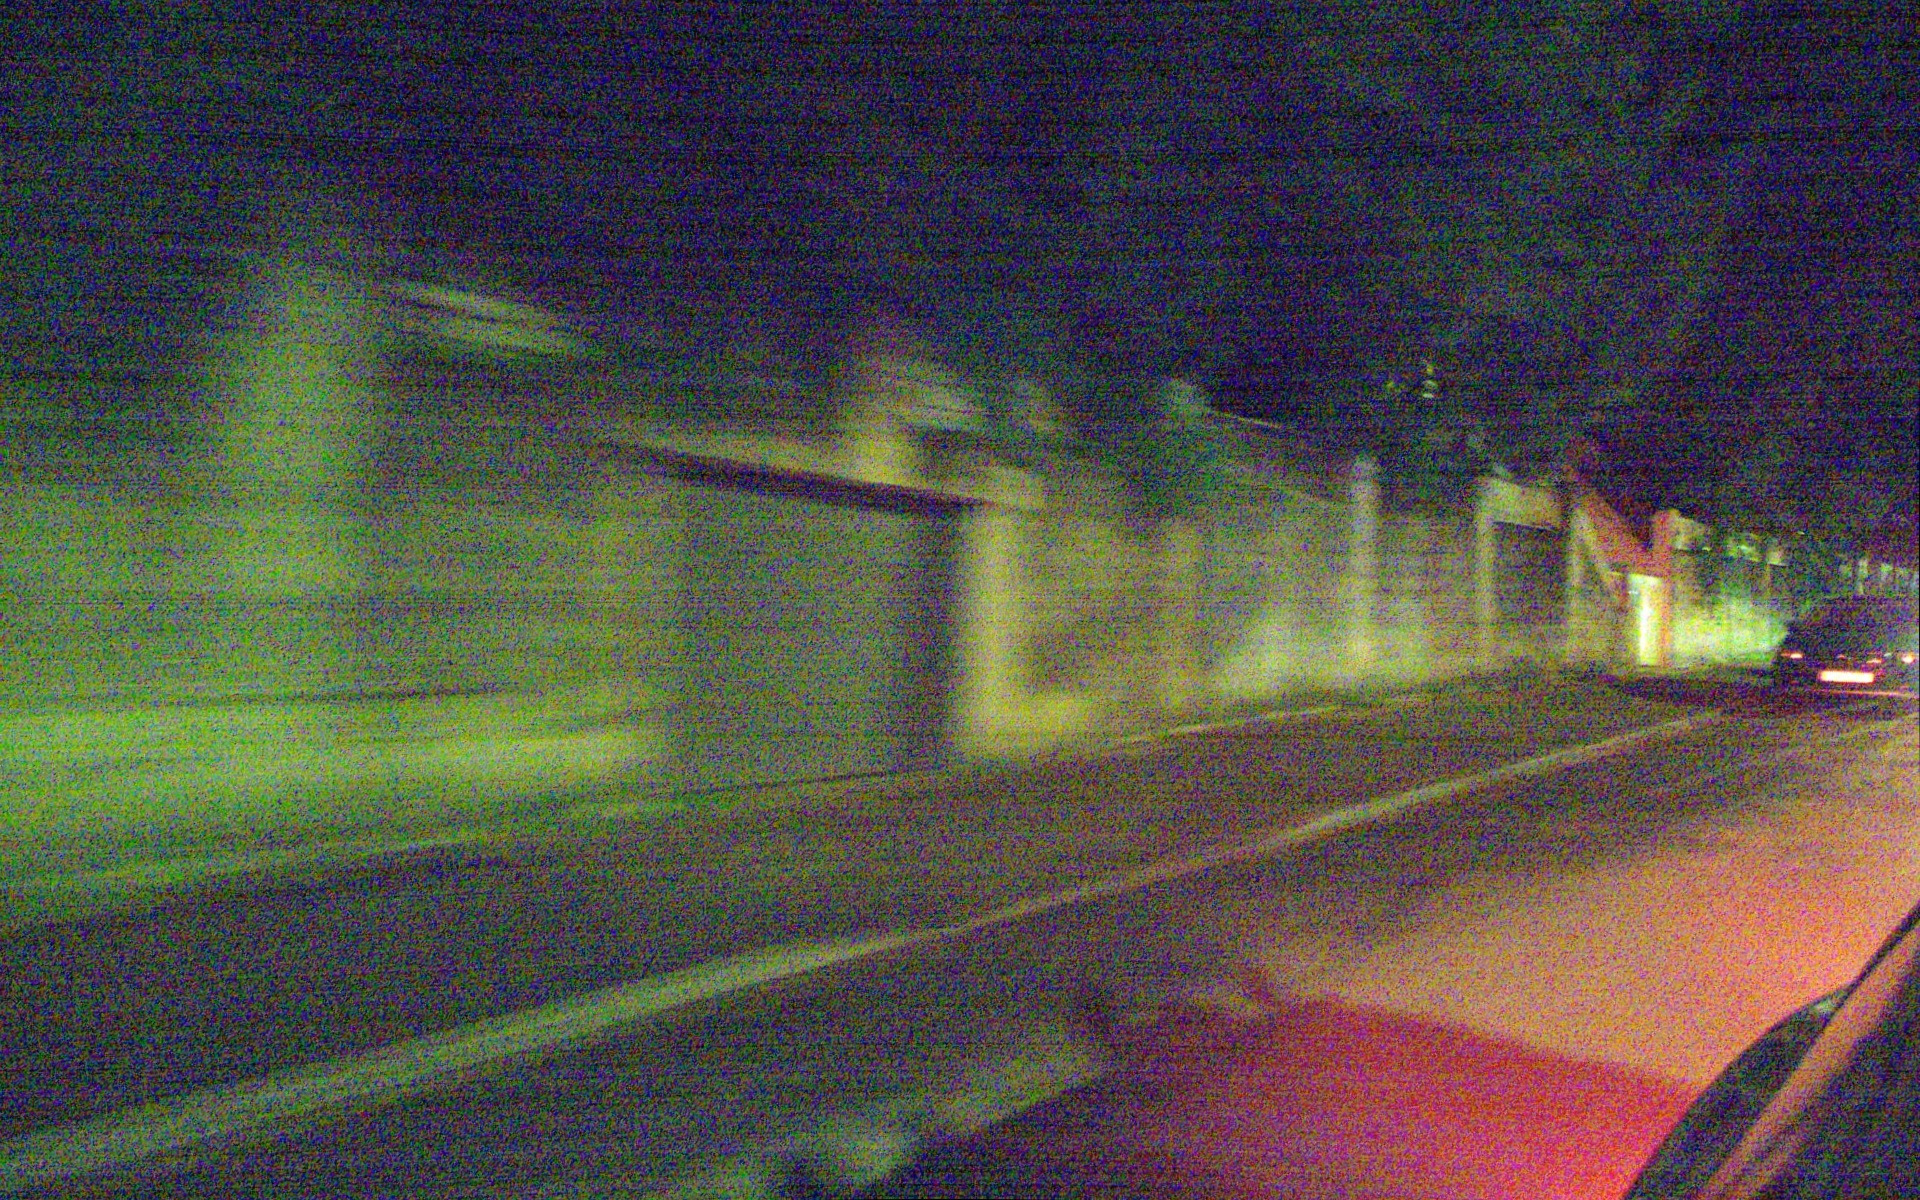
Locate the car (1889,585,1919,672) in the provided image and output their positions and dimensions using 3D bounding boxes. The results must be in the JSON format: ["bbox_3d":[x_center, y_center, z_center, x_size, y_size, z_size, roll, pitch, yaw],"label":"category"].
[{"bbox_3d":[21.565,0.616,21.774,4.672,1.784,1.722,1,-1,-40],"label":"car"}]

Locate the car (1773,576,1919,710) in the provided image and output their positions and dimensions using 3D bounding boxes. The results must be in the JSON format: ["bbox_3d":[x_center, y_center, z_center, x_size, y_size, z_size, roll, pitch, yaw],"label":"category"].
[{"bbox_3d":[13.422,0.528,14.487,4.535,1.685,1.836,0,0,-39],"label":"car"}]

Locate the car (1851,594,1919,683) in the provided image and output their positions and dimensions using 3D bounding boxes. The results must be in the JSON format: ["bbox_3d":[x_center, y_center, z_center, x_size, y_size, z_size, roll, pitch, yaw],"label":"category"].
[{"bbox_3d":[17.535,0.660,18.180,4.182,1.490,1.746,1,-2,-41],"label":"car"}]
